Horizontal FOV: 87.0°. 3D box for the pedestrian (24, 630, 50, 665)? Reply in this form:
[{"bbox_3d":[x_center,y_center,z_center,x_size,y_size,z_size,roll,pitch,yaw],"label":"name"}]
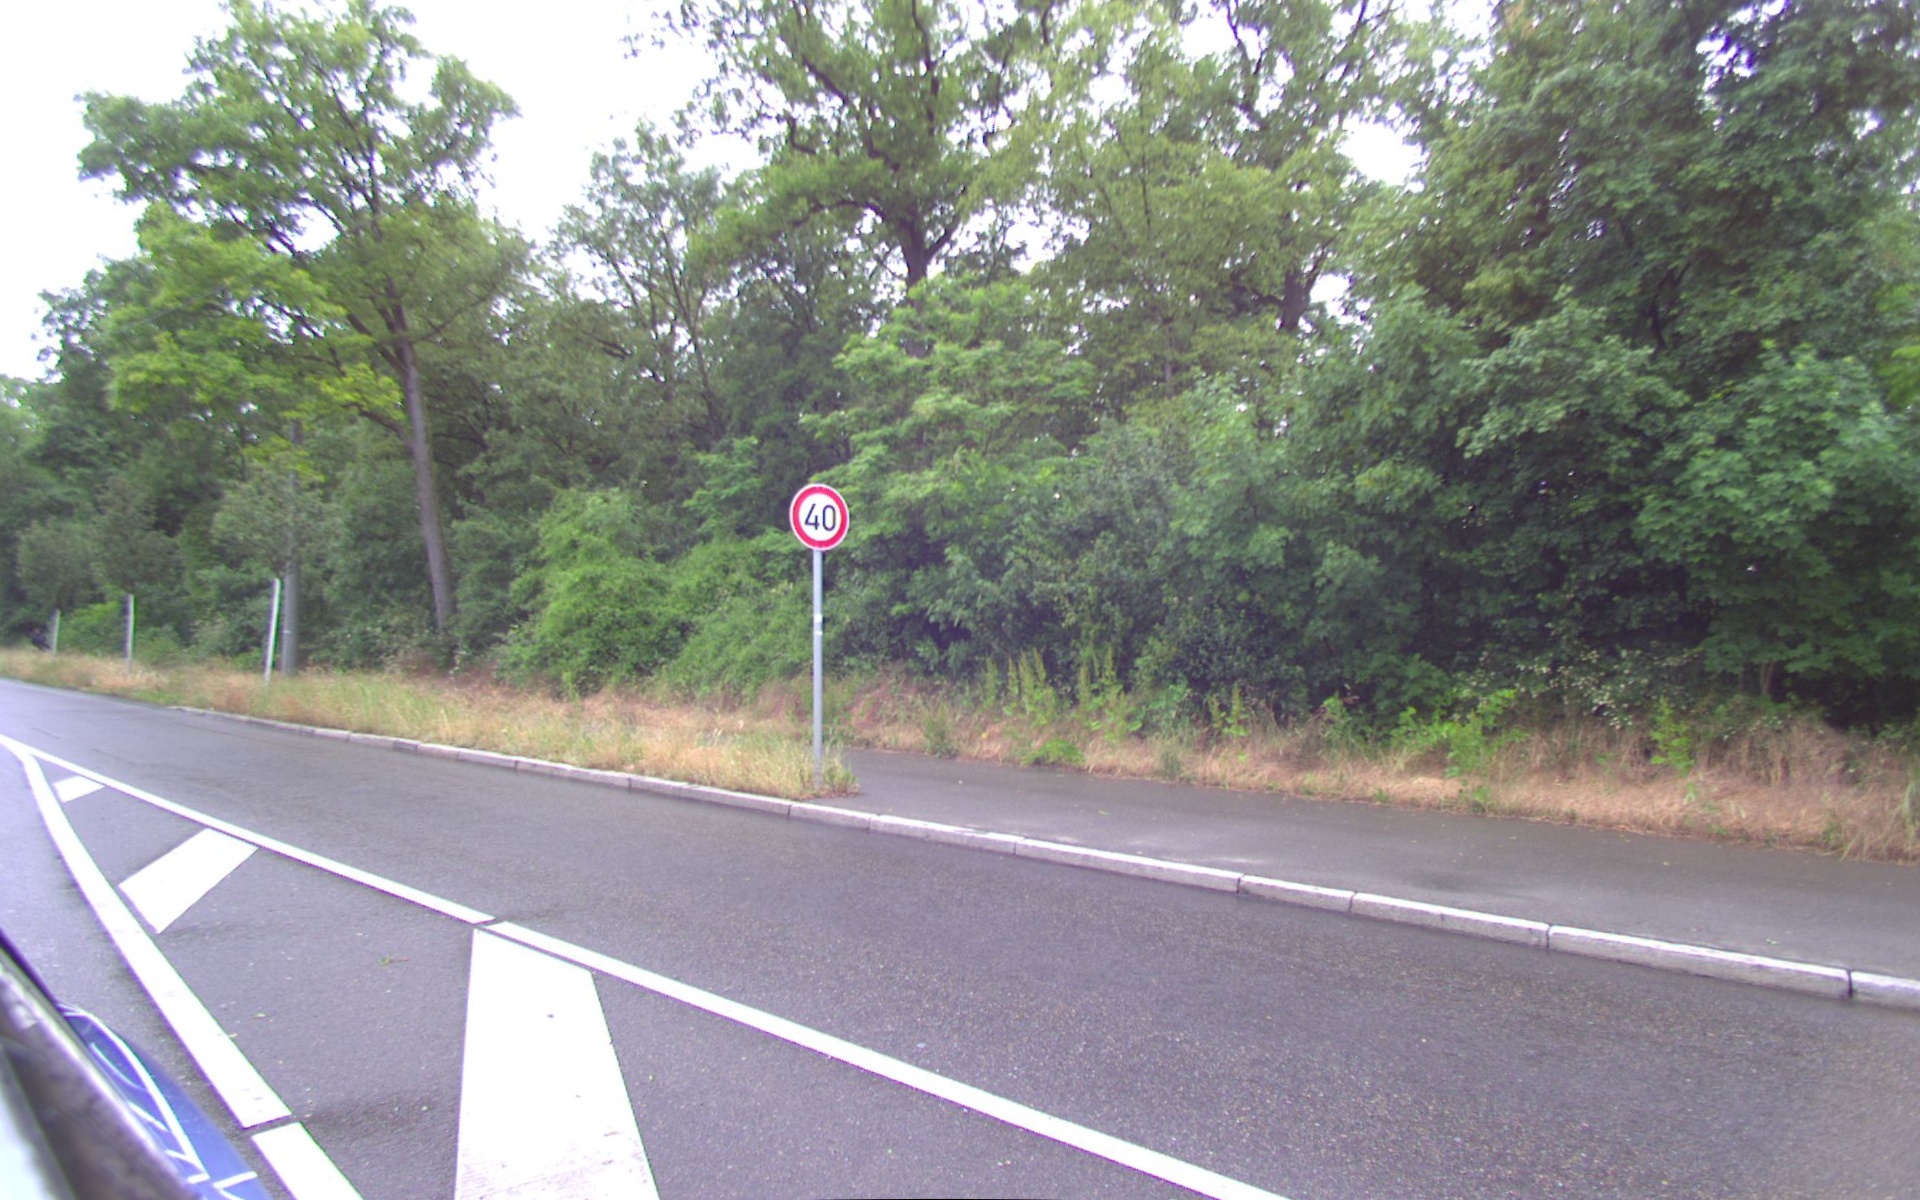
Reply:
[{"bbox_3d":[-44.100,2.267,48.338,0.731,1.620,0.773,-1,-3,38],"label":"pedestrian"}]
